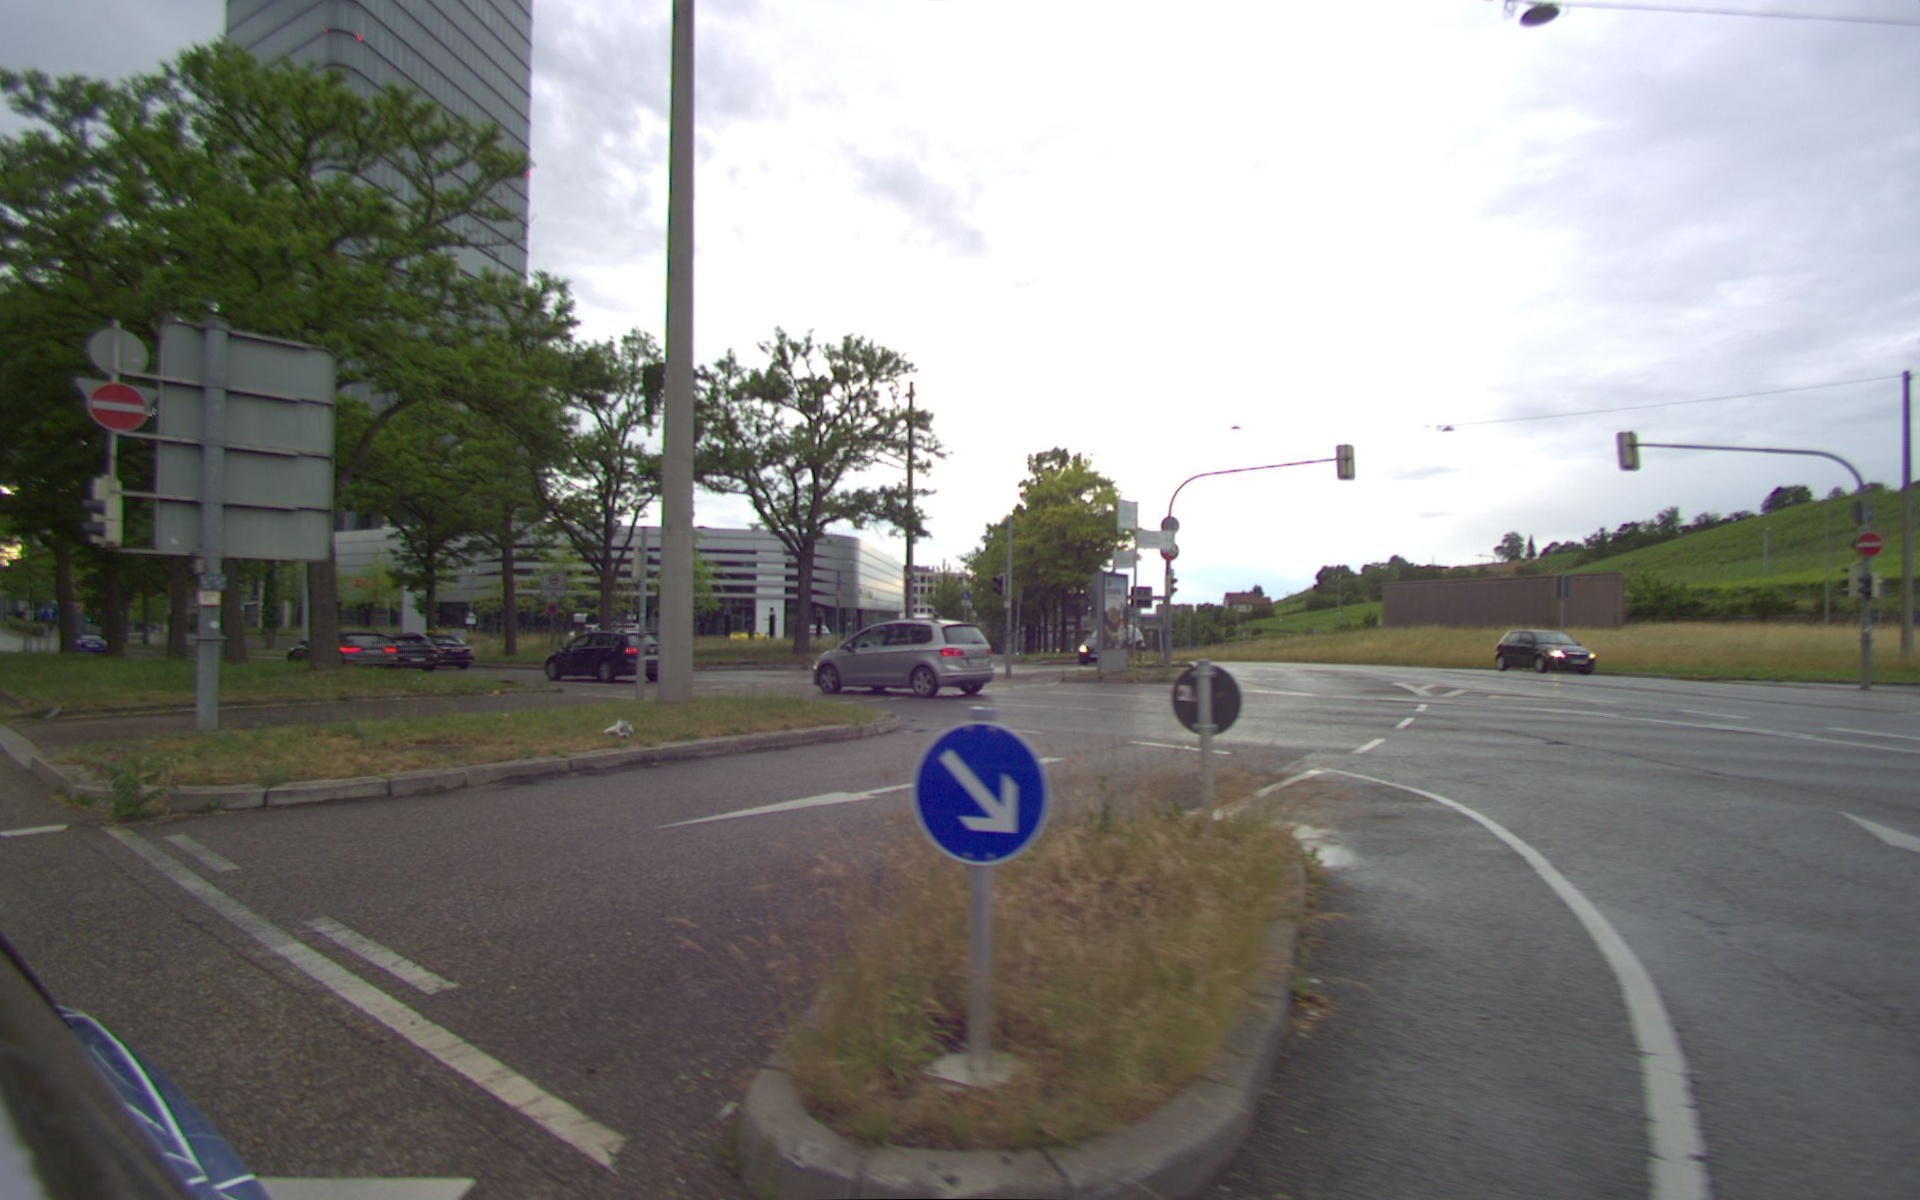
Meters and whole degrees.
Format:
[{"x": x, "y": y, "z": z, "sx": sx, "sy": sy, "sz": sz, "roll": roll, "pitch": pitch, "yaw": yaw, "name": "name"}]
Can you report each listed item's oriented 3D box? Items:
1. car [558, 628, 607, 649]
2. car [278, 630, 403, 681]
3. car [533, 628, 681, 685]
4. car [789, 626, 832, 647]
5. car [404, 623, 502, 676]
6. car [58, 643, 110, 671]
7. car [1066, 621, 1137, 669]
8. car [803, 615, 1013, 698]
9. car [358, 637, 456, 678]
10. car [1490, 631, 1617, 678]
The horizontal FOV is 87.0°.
[{"x": -29.161, "y": 2.946, "z": 78.382, "sx": 1.759, "sy": 1.423, "sz": 3.987, "roll": -1, "pitch": 0, "yaw": 11, "name": "car"}, {"x": -19.956, "y": 1.754, "z": 32.522, "sx": 4.886, "sy": 1.500, "sz": 1.883, "roll": -2, "pitch": -2, "yaw": 39, "name": "car"}, {"x": -10.116, "y": 1.578, "z": 28.852, "sx": 4.662, "sy": 1.484, "sz": 1.806, "roll": -2, "pitch": -2, "yaw": 39, "name": "car"}, {"x": -10.097, "y": 2.410, "z": 68.226, "sx": 1.592, "sy": 1.254, "sz": 4.013, "roll": -1, "pitch": 0, "yaw": -28, "name": "car"}, {"x": -20.959, "y": 2.080, "z": 41.767, "sx": 4.559, "sy": 1.636, "sz": 1.812, "roll": -9, "pitch": -12, "yaw": 37, "name": "car"}, {"x": -48.014, "y": 3.116, "z": 55.462, "sx": 3.882, "sy": 1.406, "sz": 1.767, "roll": -2, "pitch": -1, "yaw": 43, "name": "car"}, {"x": 5.725, "y": 1.753, "z": 40.588, "sx": 1.985, "sy": 1.674, "sz": 3.973, "roll": -1, "pitch": 0, "yaw": 20, "name": "car"}, {"x": -1.148, "y": 1.125, "z": 21.425, "sx": 4.189, "sy": 1.587, "sz": 1.974, "roll": -1, "pitch": -1, "yaw": 38, "name": "car"}, {"x": -20.473, "y": 2.091, "z": 37.434, "sx": 3.999, "sy": 1.397, "sz": 1.972, "roll": -1, "pitch": -2, "yaw": 42, "name": "car"}, {"x": 19.841, "y": 1.781, "z": 34.029, "sx": 1.773, "sy": 1.299, "sz": 4.002, "roll": -1, "pitch": 0, "yaw": -2, "name": "car"}]
